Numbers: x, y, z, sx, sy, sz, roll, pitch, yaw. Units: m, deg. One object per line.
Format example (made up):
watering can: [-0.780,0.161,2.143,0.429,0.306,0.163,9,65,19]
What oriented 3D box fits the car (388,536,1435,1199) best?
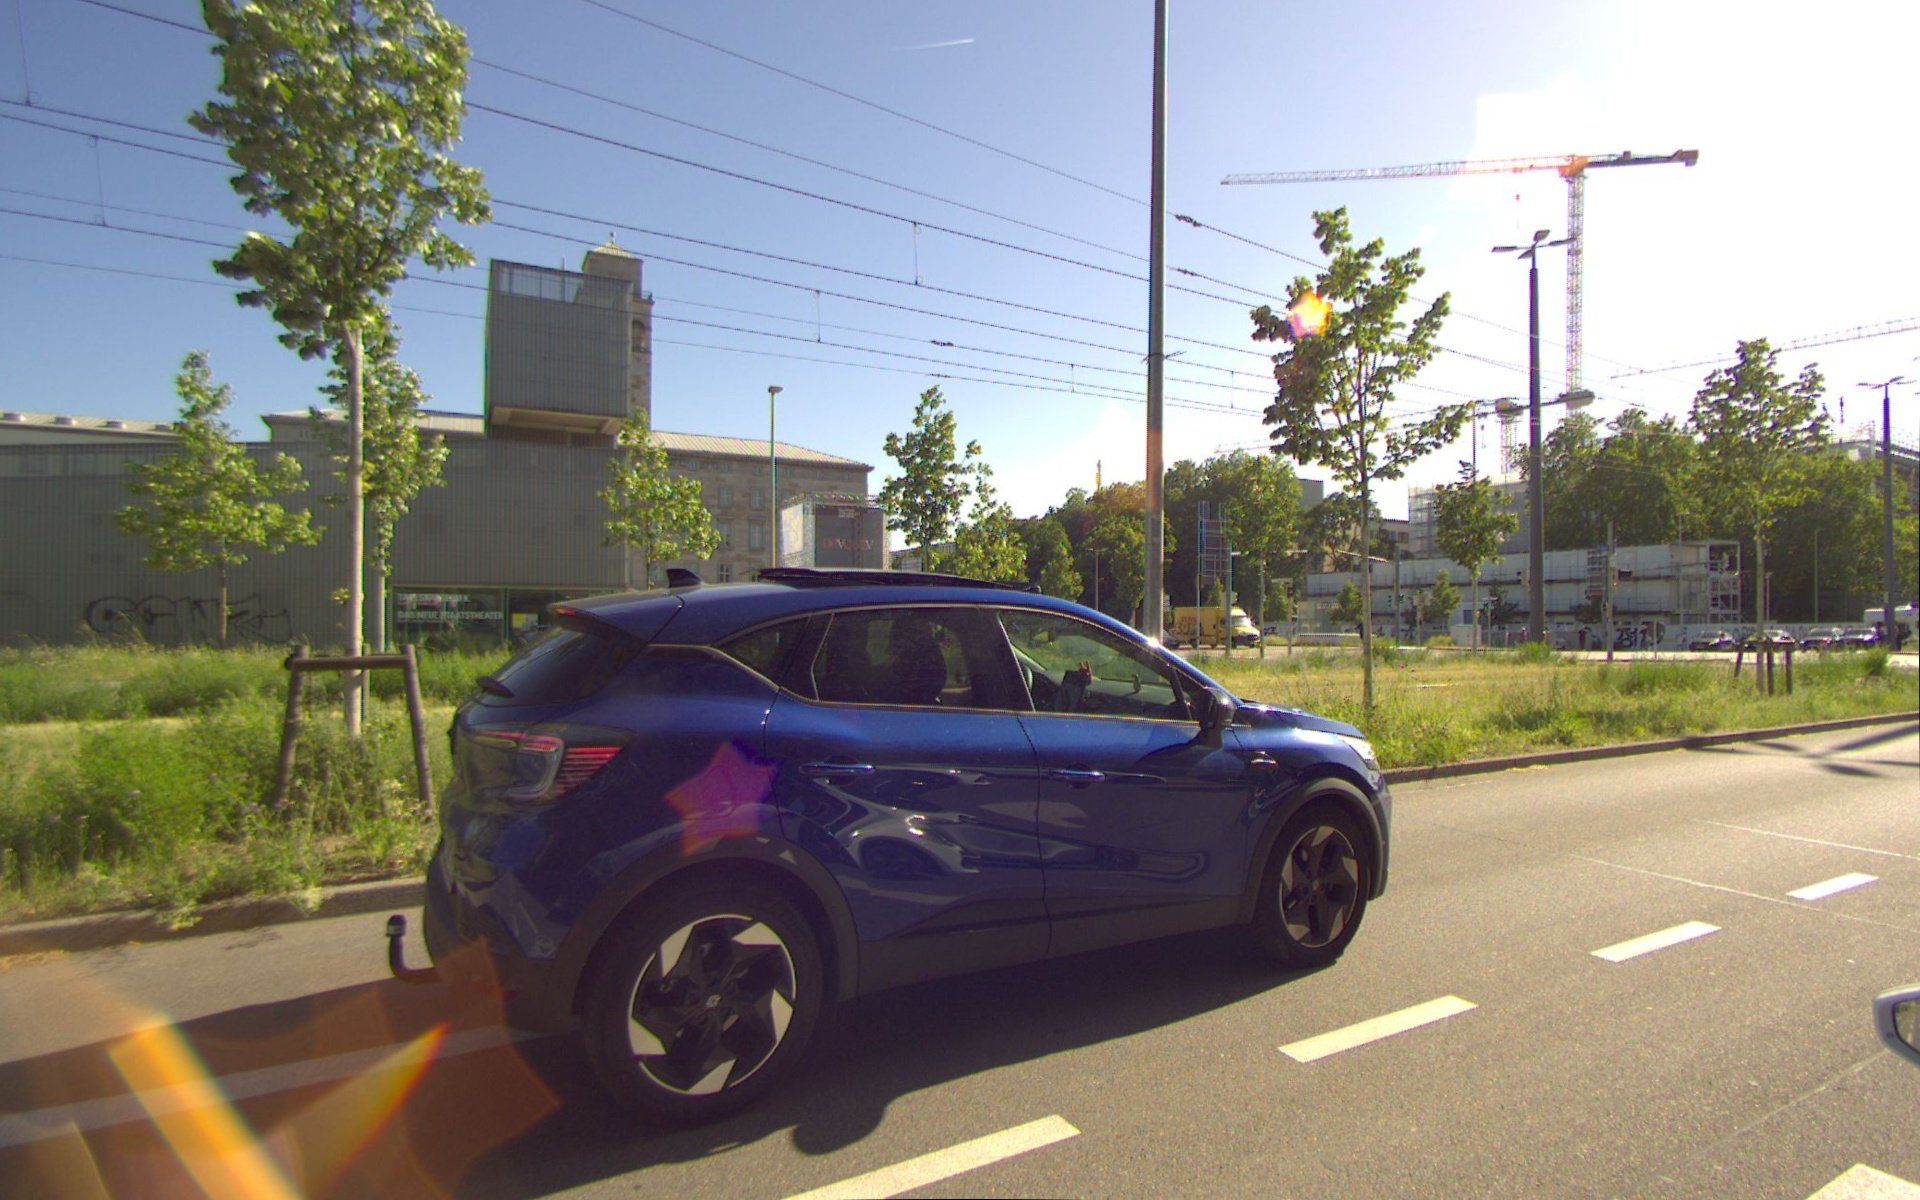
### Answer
car: [-0.024,0.690,4.243,4.106,1.644,1.735,1,0,-32]

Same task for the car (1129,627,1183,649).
car: [13.451,2.581,69.084,1.578,1.458,3.975,1,-1,-25]

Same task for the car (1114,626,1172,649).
car: [11.272,2.281,61.998,1.627,1.364,3.491,1,-1,-33]

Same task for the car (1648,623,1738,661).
car: [25.103,1.455,34.380,3.184,1.194,1.369,2,0,-31]

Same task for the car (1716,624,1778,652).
car: [49.885,2.414,63.671,3.851,1.634,1.828,2,0,-31]

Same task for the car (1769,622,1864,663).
car: [27.489,1.368,32.223,3.184,1.194,1.369,2,0,-31]

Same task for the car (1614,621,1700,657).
car: [25.344,1.426,36.505,3.184,1.194,1.369,2,0,-31]

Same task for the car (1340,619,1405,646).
car: [26.033,2.040,63.324,3.953,1.577,1.702,2,0,-30]

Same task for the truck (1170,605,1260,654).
truck: [17.463,1.961,69.248,1.974,3.002,6.941,2,0,-26]
